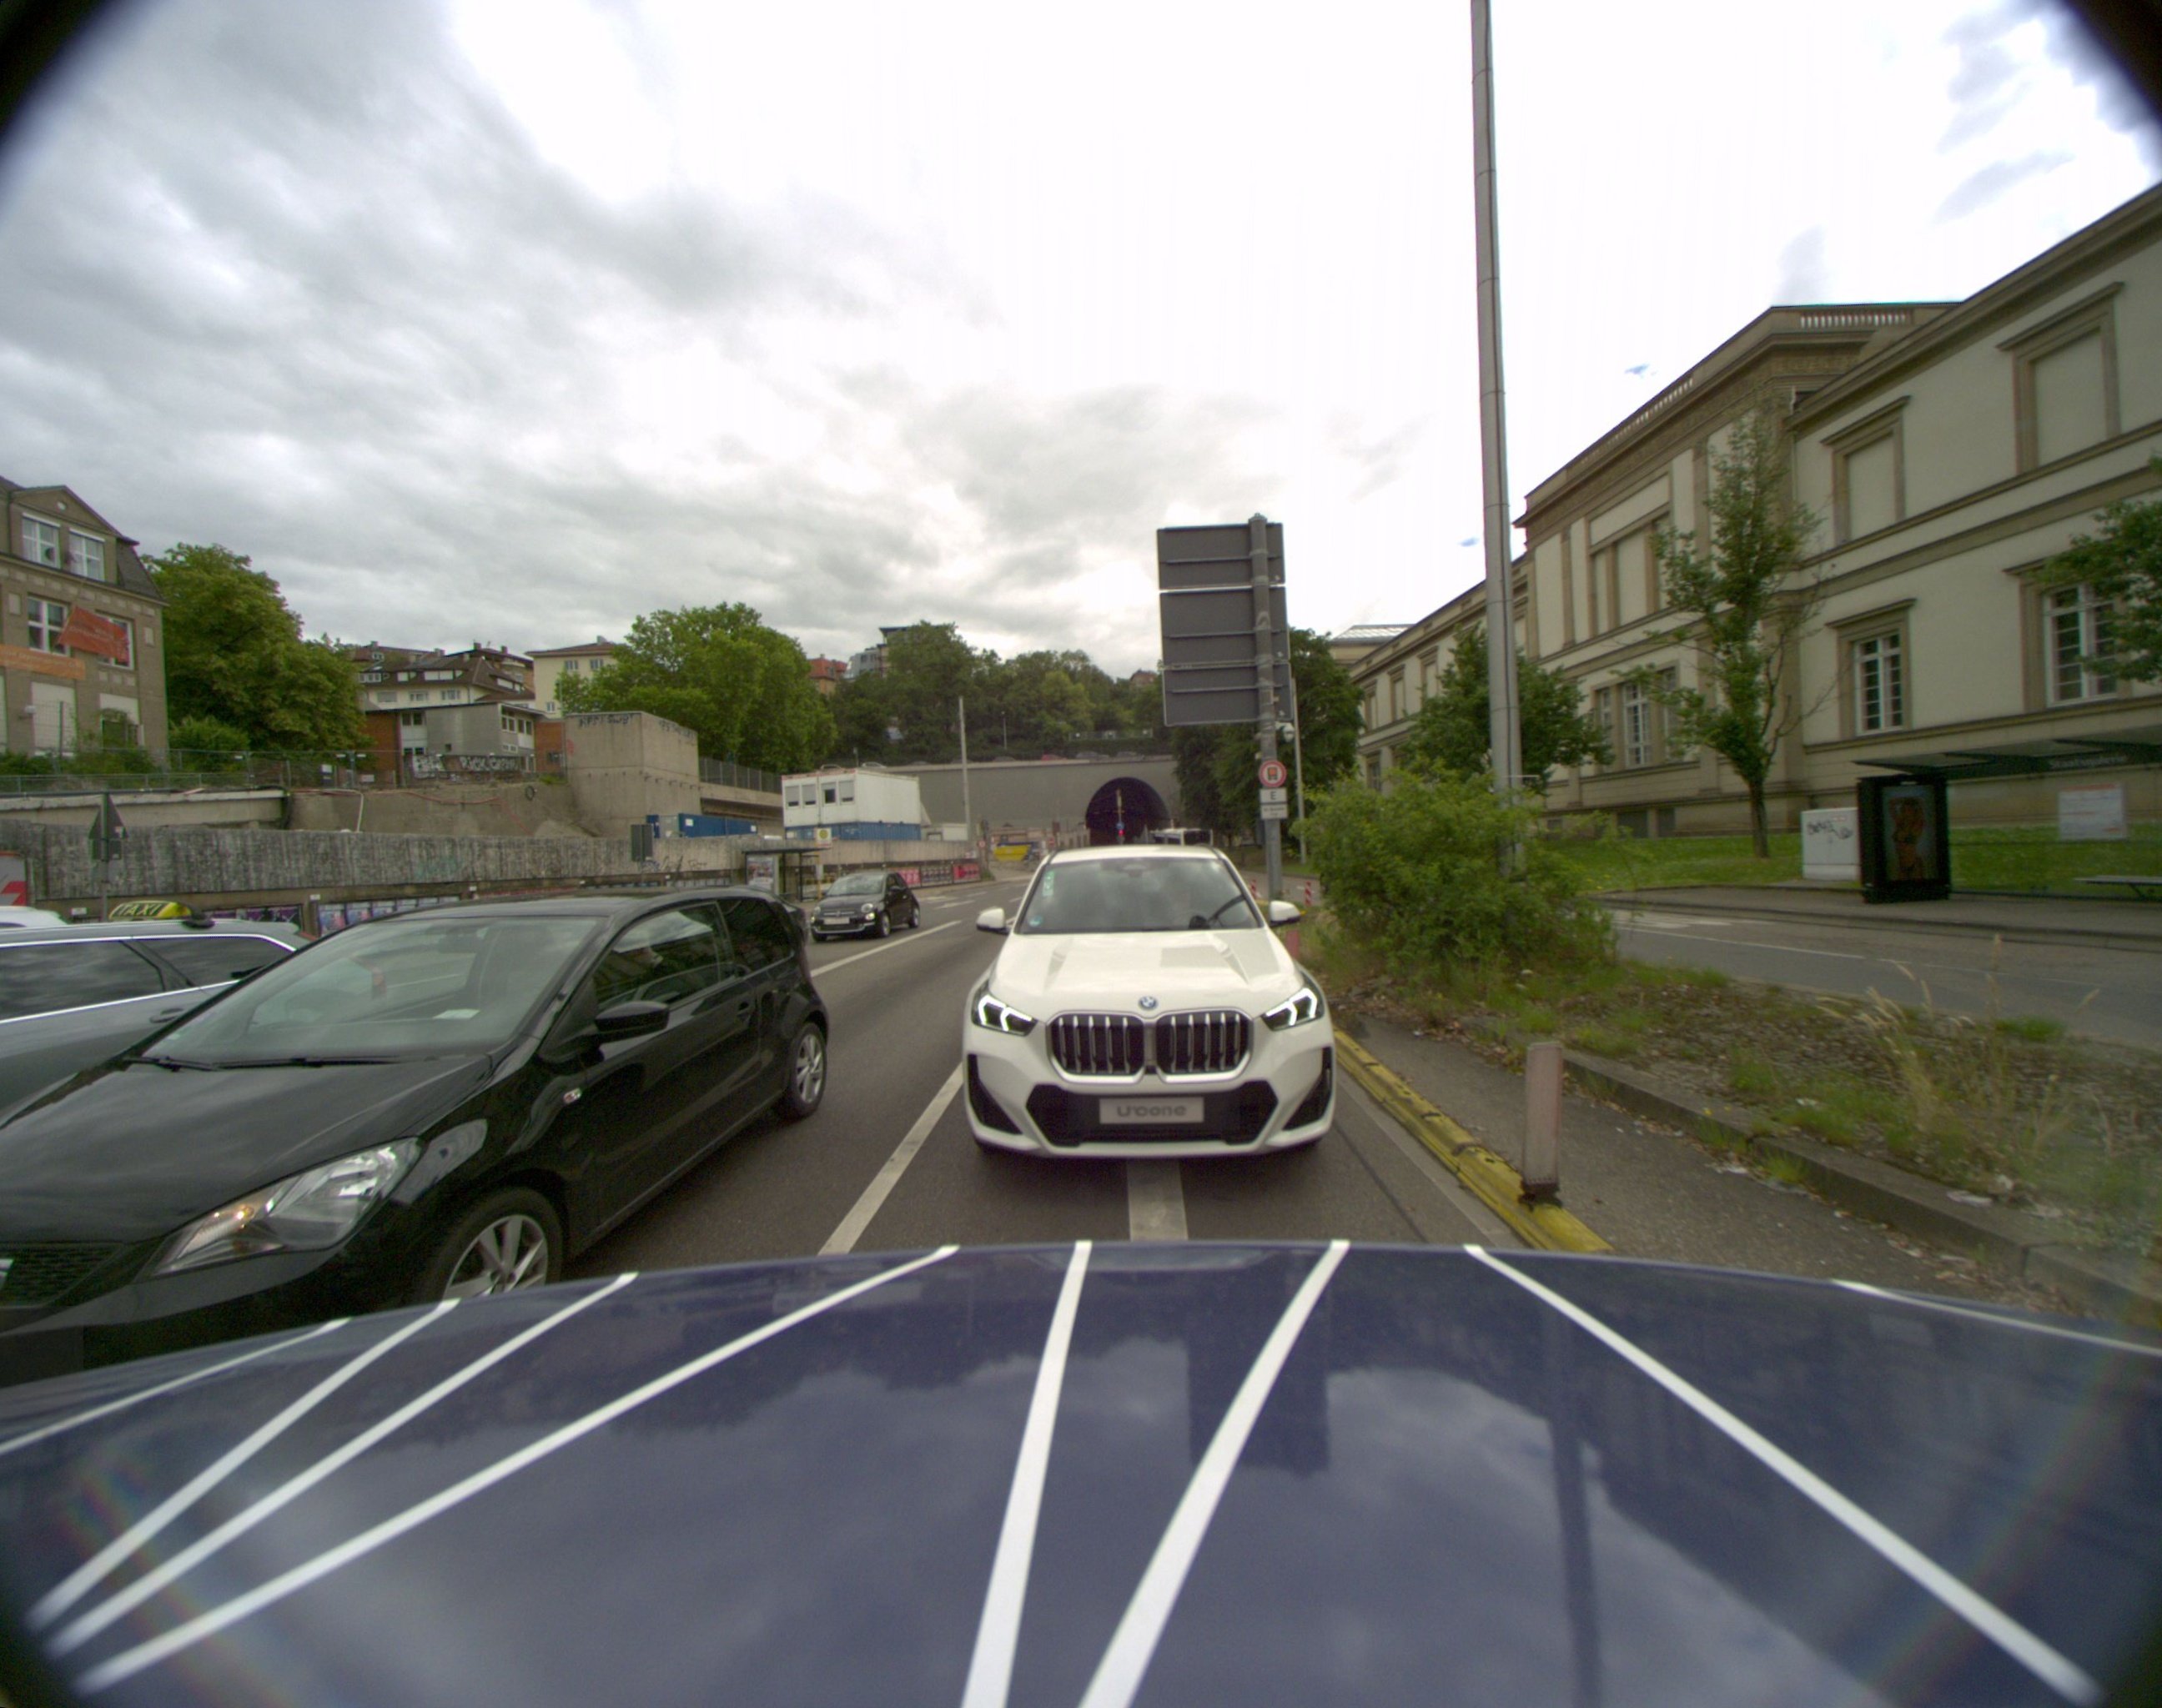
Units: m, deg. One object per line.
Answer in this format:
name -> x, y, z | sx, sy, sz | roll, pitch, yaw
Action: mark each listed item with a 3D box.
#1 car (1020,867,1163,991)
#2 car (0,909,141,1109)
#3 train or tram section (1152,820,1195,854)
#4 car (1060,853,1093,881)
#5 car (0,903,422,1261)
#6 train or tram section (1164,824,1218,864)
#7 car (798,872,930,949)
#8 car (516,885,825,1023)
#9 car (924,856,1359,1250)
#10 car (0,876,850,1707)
car -> 0.216, 0.995, 11.604 | 1.756, 1.427, 3.911 | -2, 0, 3
car -> -9.156, 1.261, 4.585 | 1.826, 1.457, 4.073 | -2, 1, 0
train or tram section -> 8.726, -1.521, 72.787 | 2.701, 3.053, 9.375 | -1, 0, -2
car -> -0.265, 0.800, 48.159 | 1.948, 1.565, 3.999 | -2, 1, 1
car -> -5.829, 1.147, 3.460 | 1.826, 1.457, 4.217 | -2, 1, 2
train or tram section -> 9.027, -0.811, 63.453 | 2.701, 3.053, 9.334 | -1, 0, -2
car -> -4.949, 1.237, 17.864 | 1.720, 1.450, 3.782 | -3, 0, 4
car -> -5.405, 1.230, 10.766 | 1.826, 1.356, 4.219 | -2, 0, 4
car -> 0.334, 0.852, 5.128 | 1.756, 1.547, 3.911 | -2, 1, 3
car -> -2.534, 0.983, 3.281 | 1.661, 1.547, 3.911 | -2, 1, 3
